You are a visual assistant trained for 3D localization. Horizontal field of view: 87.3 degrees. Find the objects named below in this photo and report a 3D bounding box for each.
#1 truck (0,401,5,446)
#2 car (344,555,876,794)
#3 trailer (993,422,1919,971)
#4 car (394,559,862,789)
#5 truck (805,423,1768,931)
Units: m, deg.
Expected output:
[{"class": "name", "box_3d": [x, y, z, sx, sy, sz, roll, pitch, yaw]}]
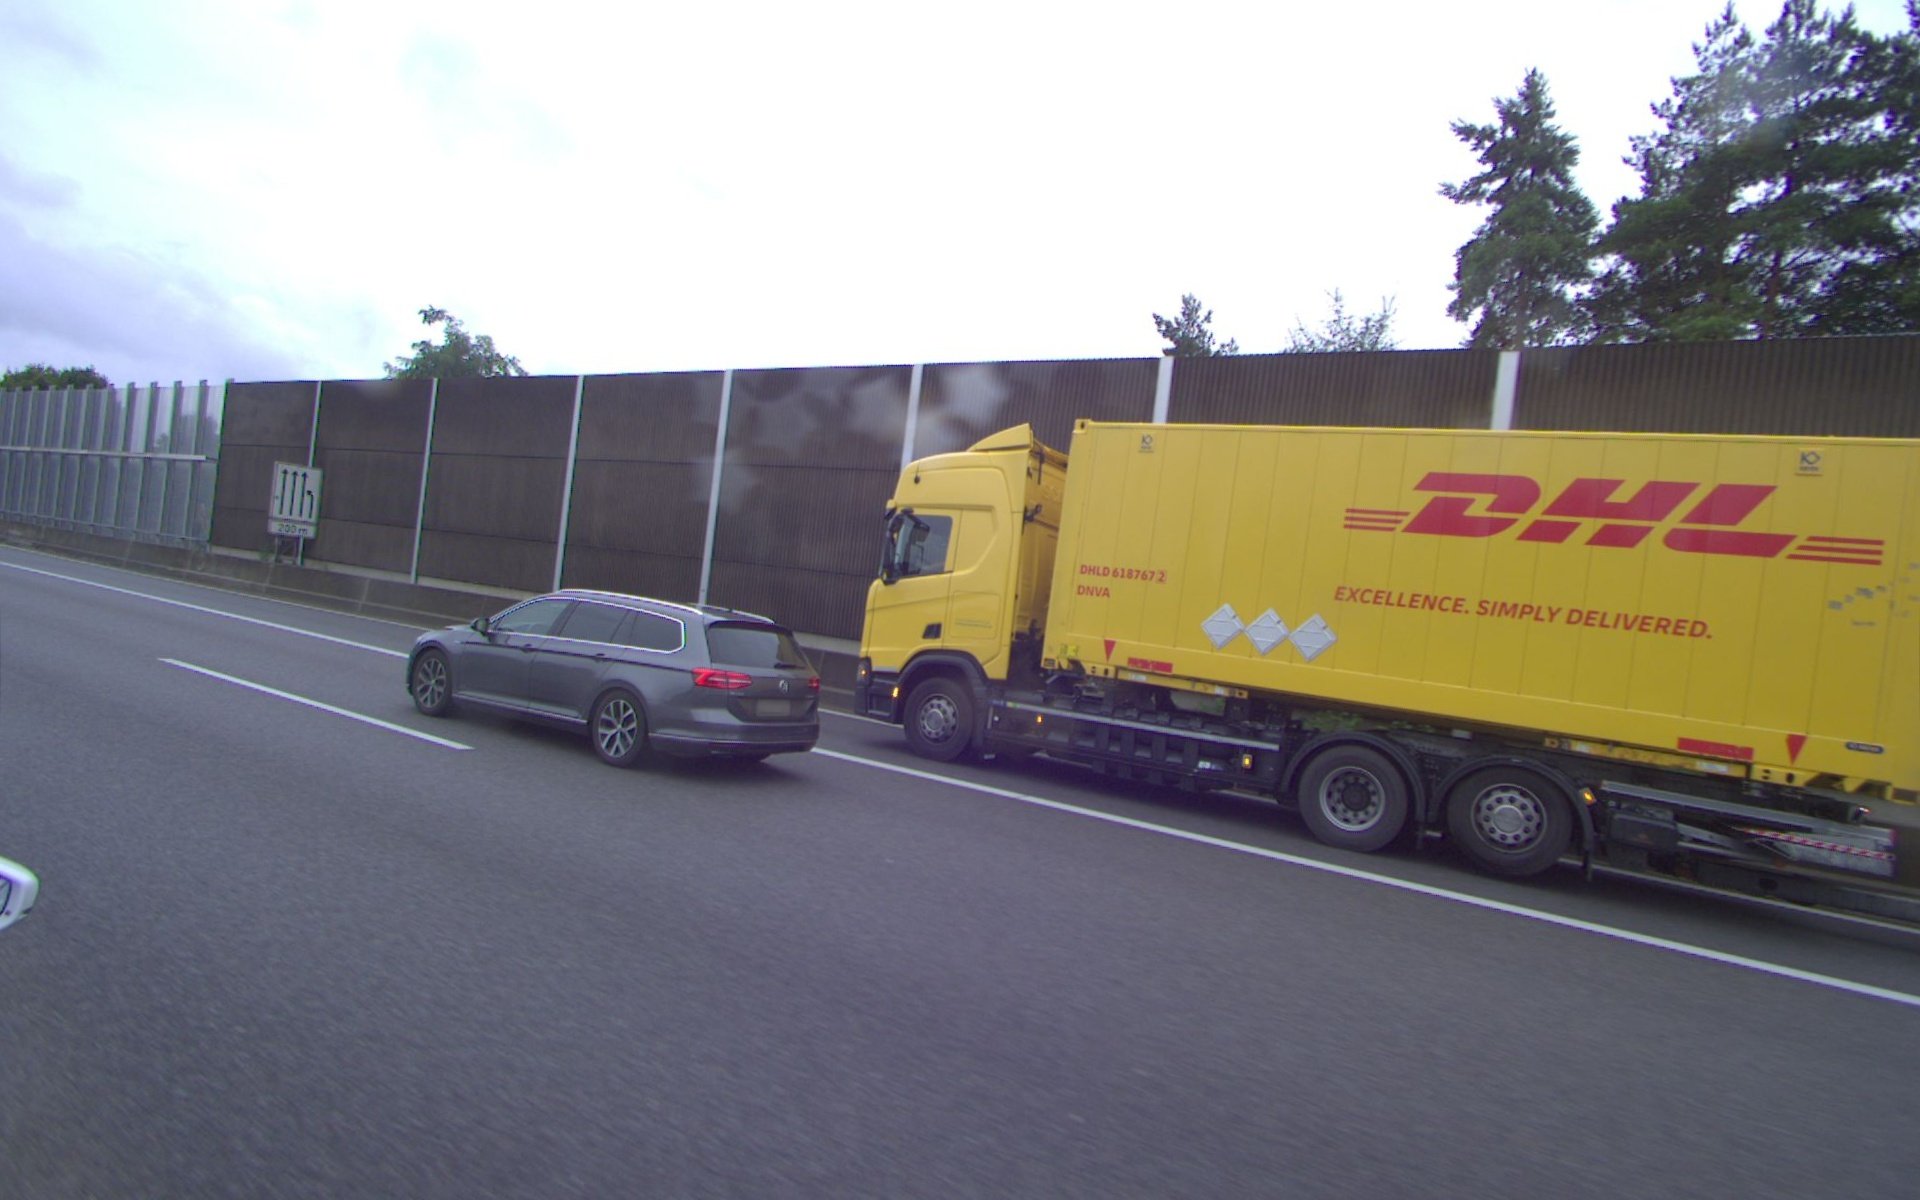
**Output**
[{"class": "truck", "box_3d": [-30.917, -3.797, 27.969, 12.733, 3.998, 3.093, 6, 0, 32]}, {"class": "car", "box_3d": [-3.574, 0.618, 9.903, 5.200, 1.443, 1.944, 7, -2, 31]}, {"class": "trailer", "box_3d": [8.288, 0.895, 8.201, 16.406, 3.998, 2.657, 6, -2, 31]}, {"class": "car", "box_3d": [-3.278, 0.619, 9.659, 4.396, 1.473, 1.667, 6, -2, 31]}, {"class": "truck", "box_3d": [2.902, 0.332, 11.452, 9.169, 4.003, 2.692, 6, -2, 30]}]
